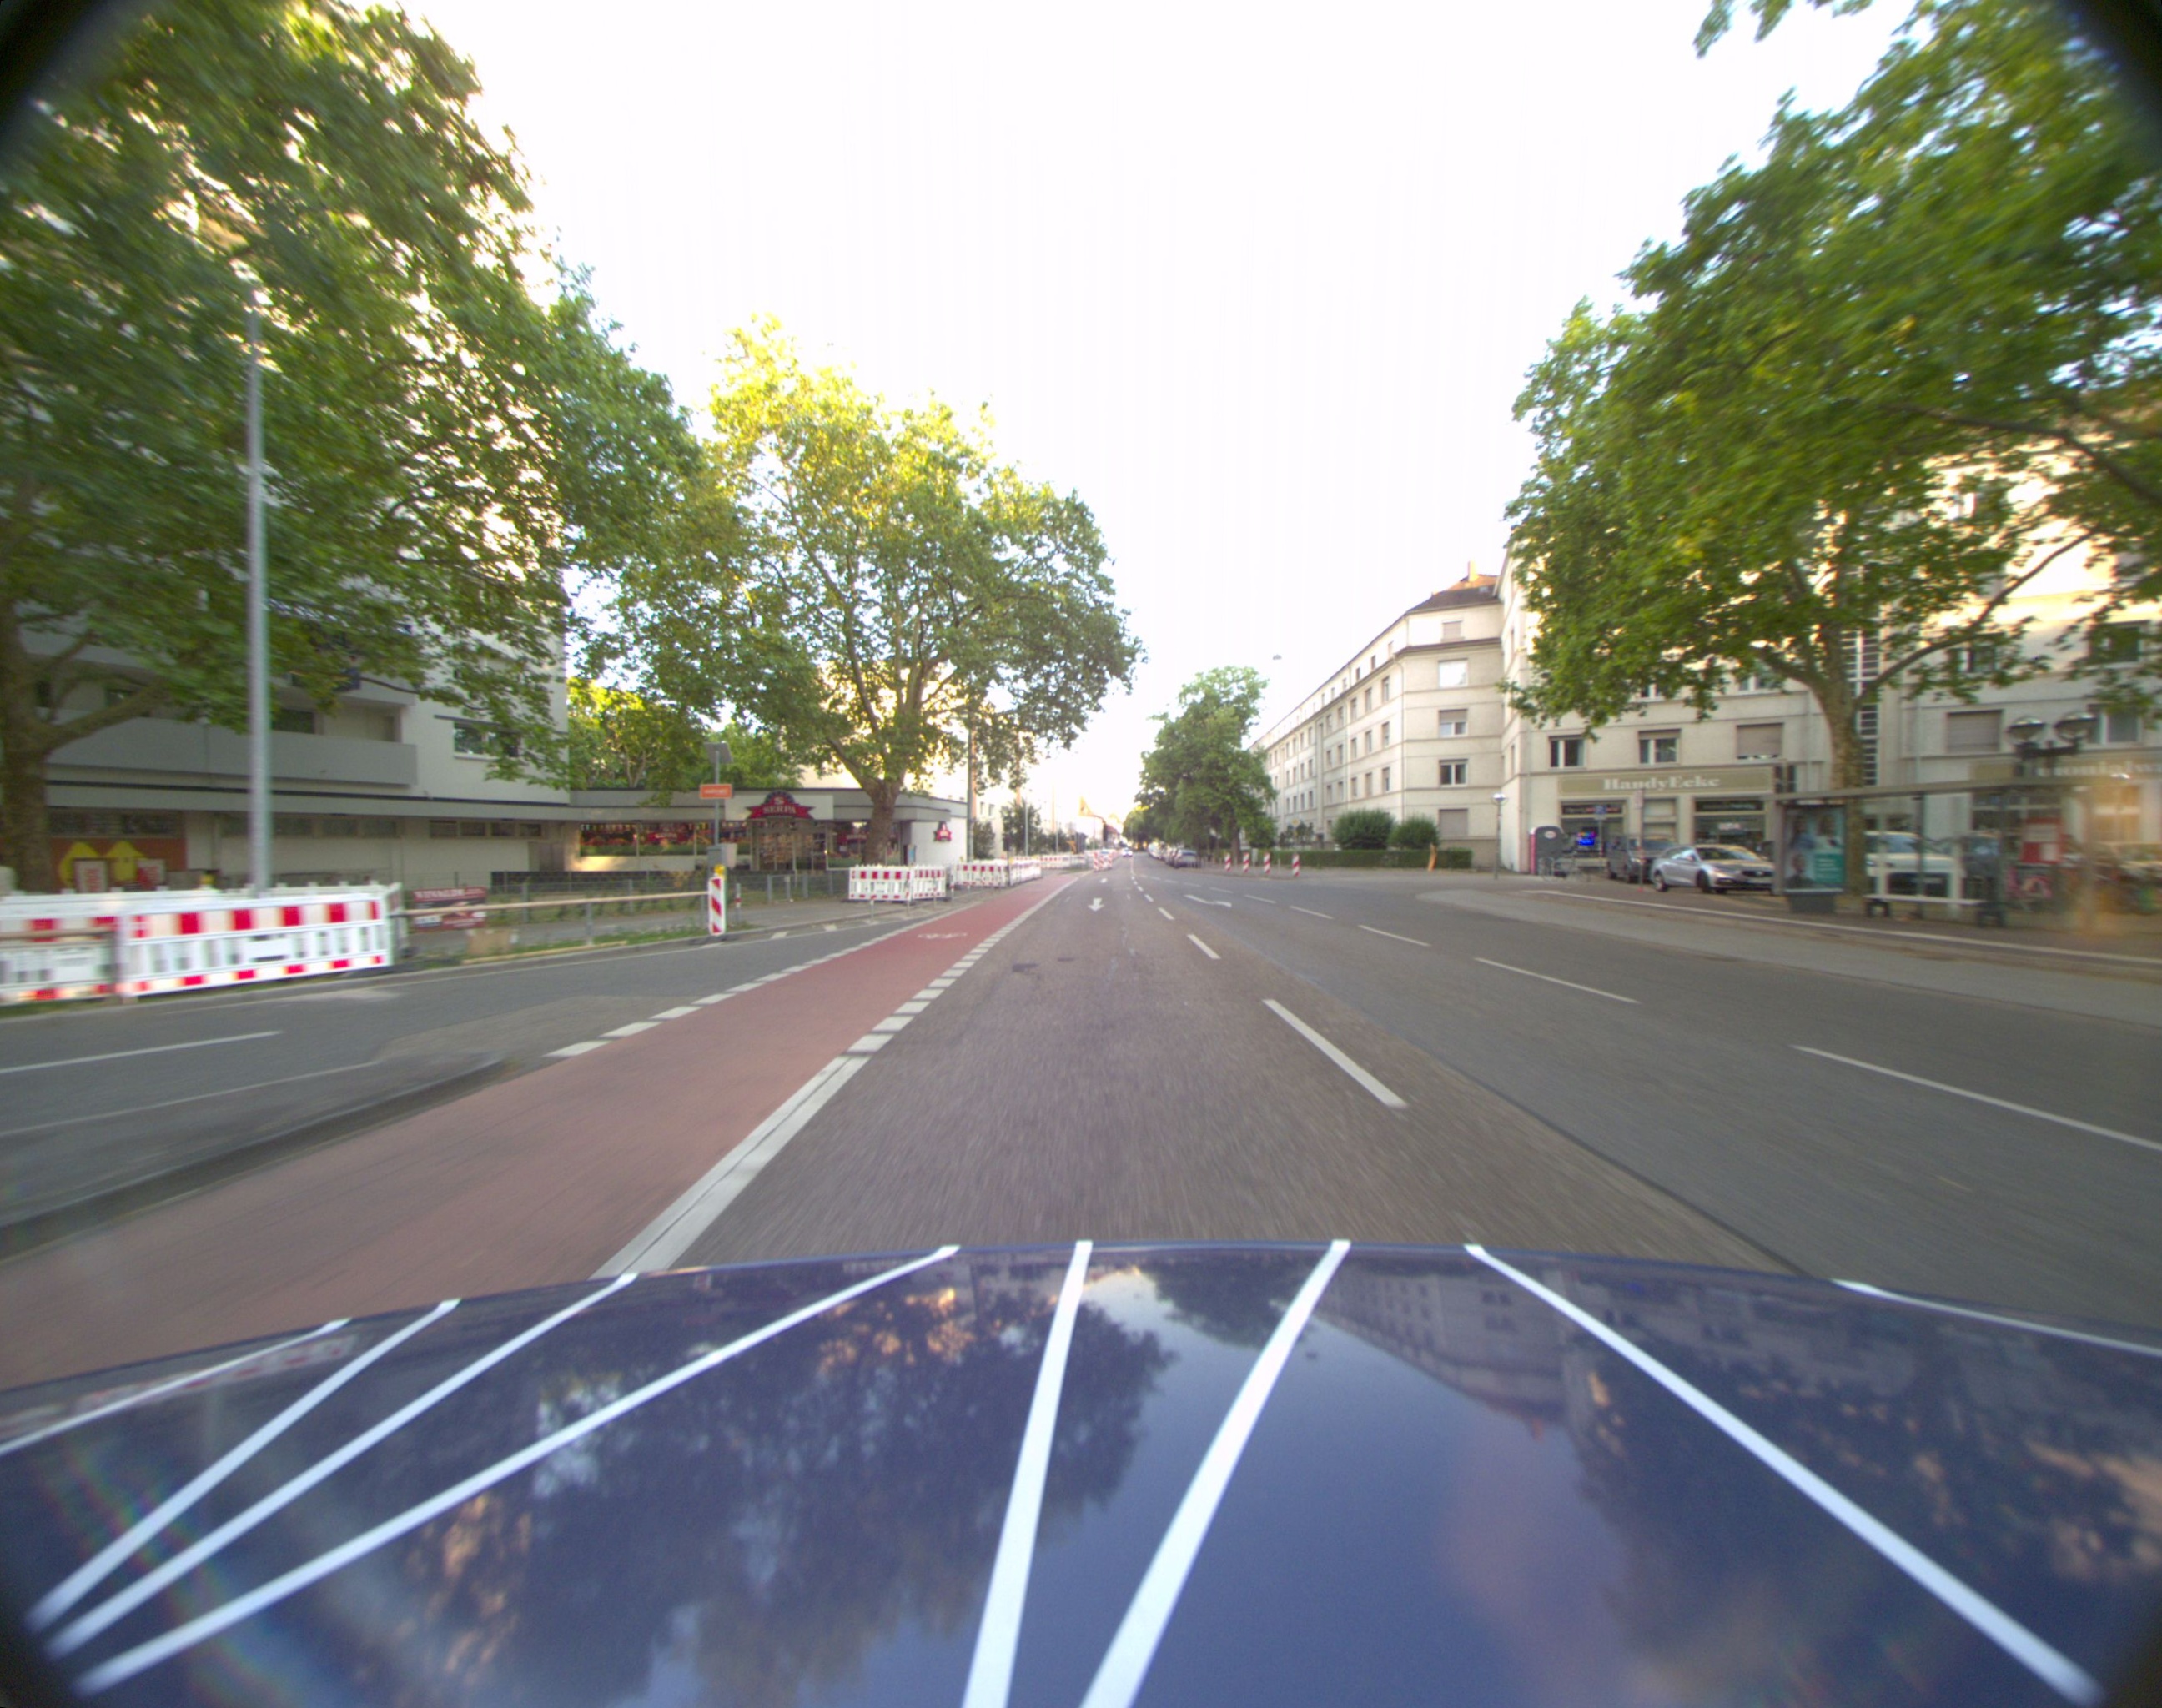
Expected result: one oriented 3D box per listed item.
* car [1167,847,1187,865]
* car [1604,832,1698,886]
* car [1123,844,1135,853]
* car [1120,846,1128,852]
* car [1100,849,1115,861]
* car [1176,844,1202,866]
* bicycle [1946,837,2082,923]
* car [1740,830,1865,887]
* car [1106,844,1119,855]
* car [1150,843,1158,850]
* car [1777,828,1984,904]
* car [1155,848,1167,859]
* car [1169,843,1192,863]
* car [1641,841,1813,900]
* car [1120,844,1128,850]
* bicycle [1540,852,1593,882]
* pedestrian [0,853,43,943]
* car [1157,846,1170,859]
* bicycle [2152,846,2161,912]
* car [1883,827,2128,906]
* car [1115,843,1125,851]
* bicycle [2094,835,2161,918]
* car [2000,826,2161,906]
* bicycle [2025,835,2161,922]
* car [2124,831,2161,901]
[{"bbox_3d":[9.690,0.187,76.797,1.892,1.591,4.260,-1,1,6],"label":"car"},{"bbox_3d":[22.932,0.112,30.781,1.995,1.945,4.647,1,3,24],"label":"car"},{"bbox_3d":[9.649,-1.104,152.080,1.997,1.838,4.002,-1,1,10],"label":"car"},{"bbox_3d":[11.469,-1.407,203.779,1.892,1.591,4.260,-1,1,6],"label":"car"},{"bbox_3d":[3.816,0.156,108.415,1.892,1.591,4.260,-1,1,6],"label":"car"},{"bbox_3d":[8.734,0.061,61.495,1.892,1.591,4.001,-1,1,6],"label":"car"},{"bbox_3d":[19.348,0.471,15.860,0.690,1.605,2.749,-1,2,26],"label":"bicycle"},{"bbox_3d":[27.425,0.077,29.108,1.995,1.945,4.647,1,3,24],"label":"car"},{"bbox_3d":[5.301,-0.786,129.206,1.892,1.651,4.260,-1,1,6],"label":"car"},{"bbox_3d":[16.650,-1.698,173.339,1.892,1.591,4.260,-1,1,6],"label":"car"},{"bbox_3d":[20.951,0.306,20.235,1.995,1.771,4.649,1,0,22],"label":"car"},{"bbox_3d":[13.187,-0.066,125.180,1.892,1.591,4.260,-1,1,6],"label":"car"},{"bbox_3d":[9.126,-0.095,69.897,1.892,1.681,4.260,-1,1,6],"label":"car"},{"bbox_3d":[18.377,0.440,21.936,1.996,1.494,4.647,1,0,15],"label":"car"},{"bbox_3d":[12.136,-2.083,212.988,1.892,1.591,4.260,-1,1,6],"label":"car"},{"bbox_3d":[19.715,0.517,30.867,1.802,1.199,0.648,0,2,34],"label":"bicycle"},{"bbox_3d":[-19.370,0.780,13.648,0.639,1.579,0.748,0,2,40],"label":"pedestrian"},{"bbox_3d":[12.542,-0.195,115.512,1.892,1.855,4.260,-1,1,6],"label":"car"},{"bbox_3d":[22.713,0.562,14.925,0.690,1.376,2.749,-1,2,26],"label":"bicycle"},{"bbox_3d":[23.415,0.300,19.585,1.995,1.771,4.649,1,0,22],"label":"car"},{"bbox_3d":[8.457,-1.425,163.543,1.892,1.591,4.260,-1,1,6],"label":"car"},{"bbox_3d":[21.849,0.452,15.143,0.807,1.605,2.749,-1,2,26],"label":"bicycle"},{"bbox_3d":[25.524,0.314,18.496,1.995,1.771,4.649,1,0,22],"label":"car"},{"bbox_3d":[20.836,0.441,15.540,0.807,1.605,2.749,-1,2,26],"label":"bicycle"},{"bbox_3d":[27.703,0.300,17.599,1.995,1.771,4.649,1,0,22],"label":"car"}]
